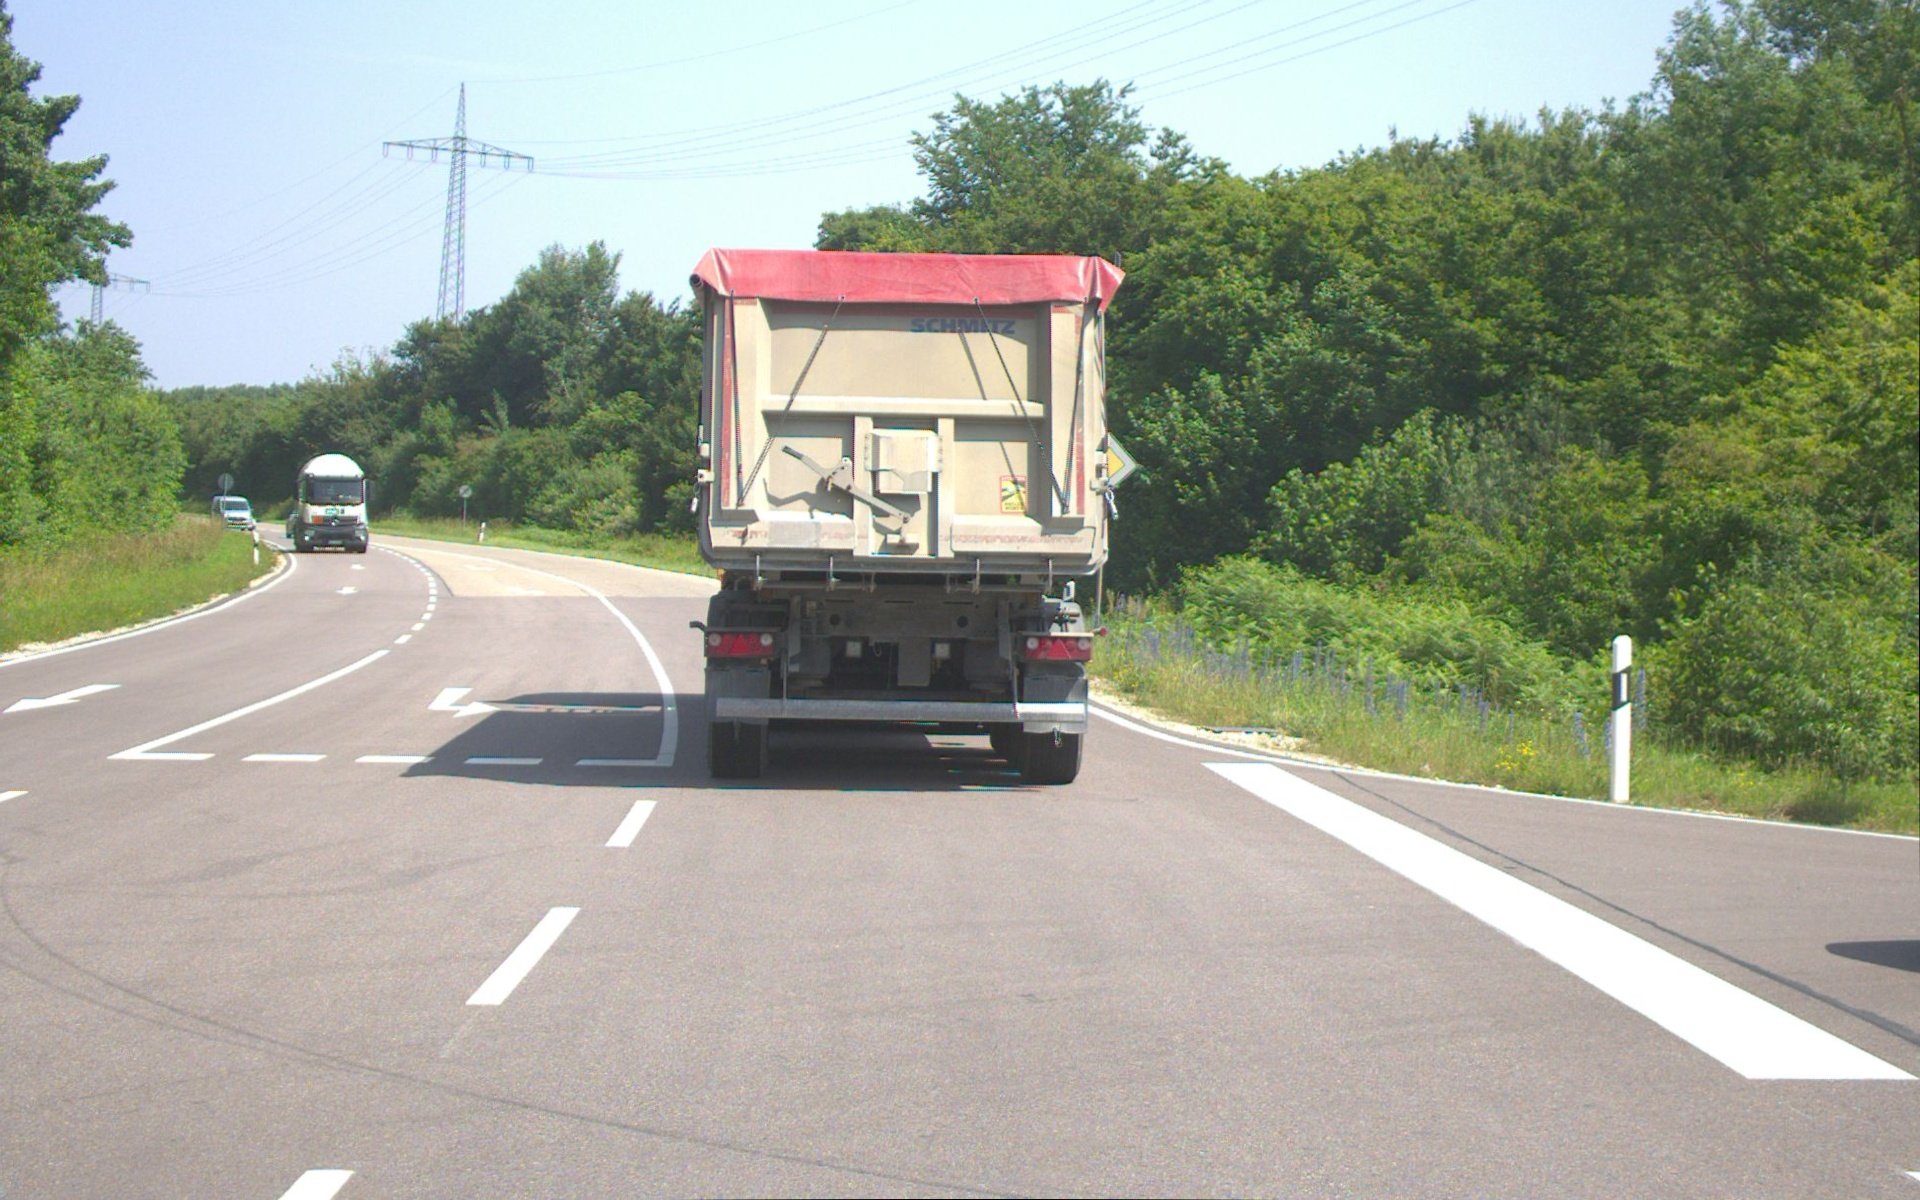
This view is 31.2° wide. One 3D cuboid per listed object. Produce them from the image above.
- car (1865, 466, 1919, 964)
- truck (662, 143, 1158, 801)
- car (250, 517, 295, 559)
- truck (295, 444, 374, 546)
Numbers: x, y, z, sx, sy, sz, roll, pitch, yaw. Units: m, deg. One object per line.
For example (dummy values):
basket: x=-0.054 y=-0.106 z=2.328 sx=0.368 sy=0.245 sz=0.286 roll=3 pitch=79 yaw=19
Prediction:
car: x=6.365 y=0.582 z=13.456 sx=5.211 sy=1.900 sz=2.014 roll=3 pitch=0 yaw=-22
truck: x=-0.812 y=-0.906 z=26.863 sx=2.893 sy=3.949 sz=11.935 roll=1 pitch=1 yaw=-5
car: x=-29.814 y=-2.689 z=149.149 sx=1.842 sy=1.773 sz=4.895 roll=1 pitch=1 yaw=-10
truck: x=-23.515 y=-3.919 z=129.450 sx=2.626 sy=3.658 sz=8.799 roll=1 pitch=1 yaw=-9
